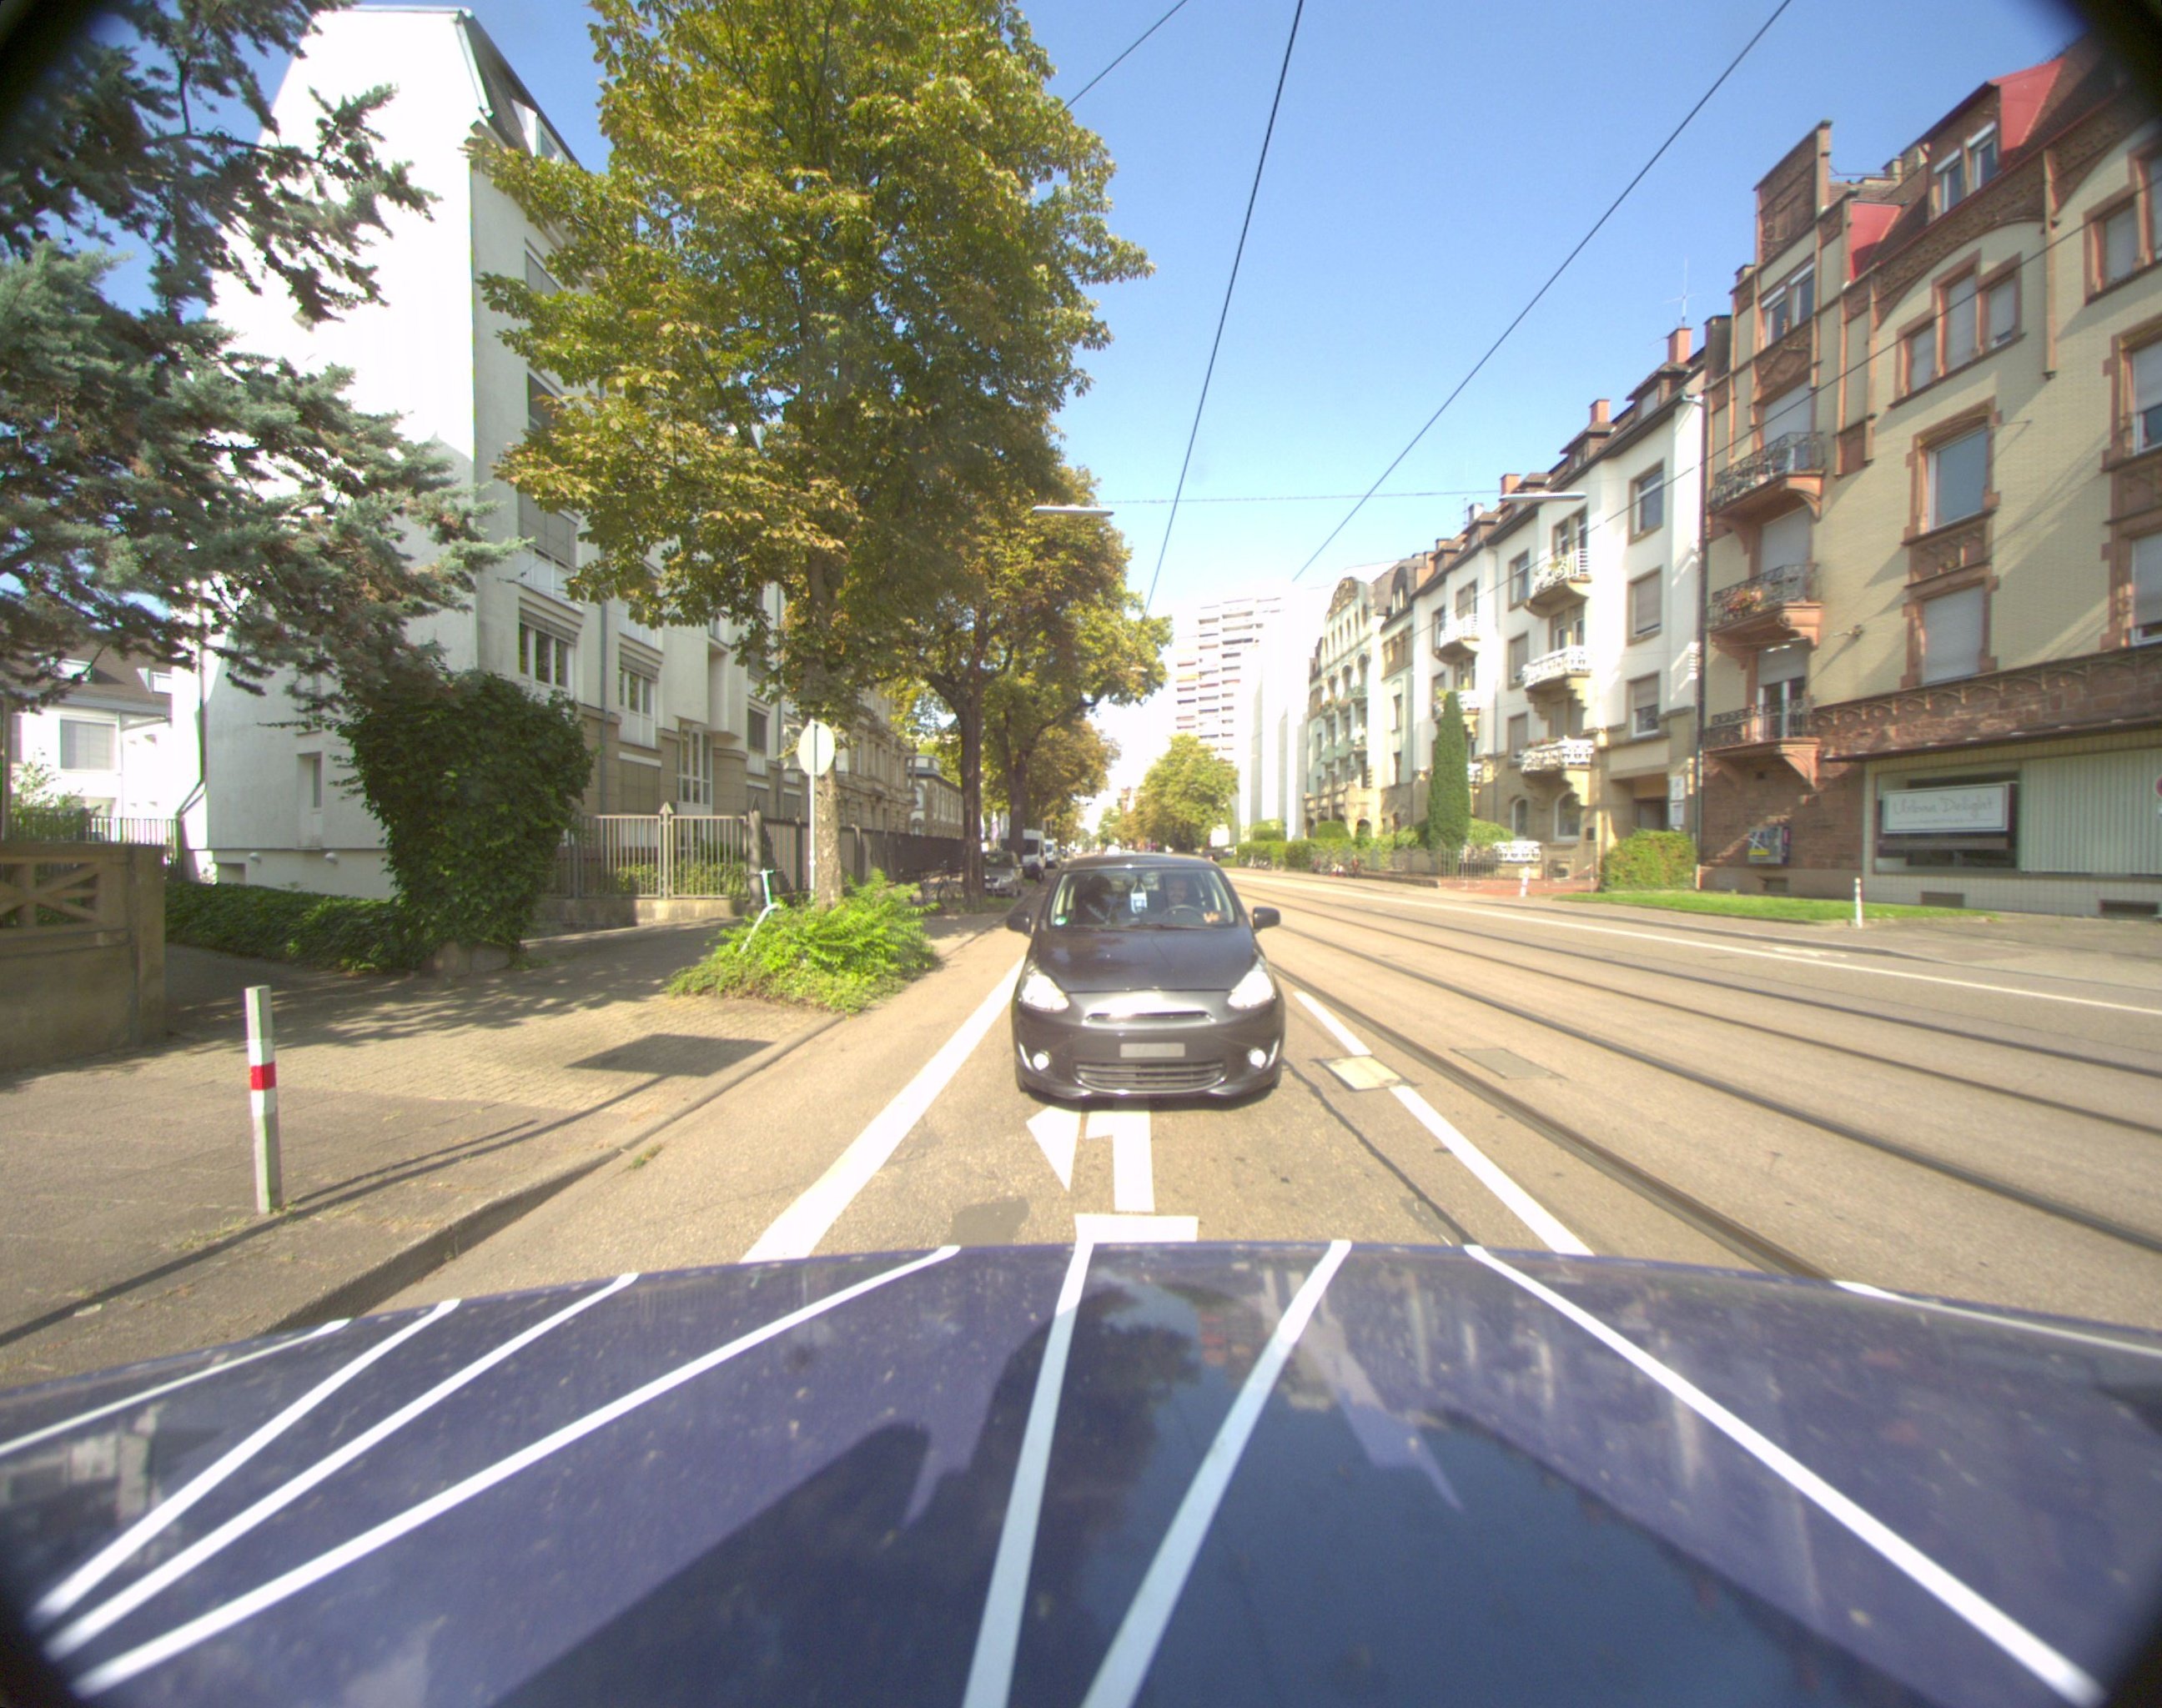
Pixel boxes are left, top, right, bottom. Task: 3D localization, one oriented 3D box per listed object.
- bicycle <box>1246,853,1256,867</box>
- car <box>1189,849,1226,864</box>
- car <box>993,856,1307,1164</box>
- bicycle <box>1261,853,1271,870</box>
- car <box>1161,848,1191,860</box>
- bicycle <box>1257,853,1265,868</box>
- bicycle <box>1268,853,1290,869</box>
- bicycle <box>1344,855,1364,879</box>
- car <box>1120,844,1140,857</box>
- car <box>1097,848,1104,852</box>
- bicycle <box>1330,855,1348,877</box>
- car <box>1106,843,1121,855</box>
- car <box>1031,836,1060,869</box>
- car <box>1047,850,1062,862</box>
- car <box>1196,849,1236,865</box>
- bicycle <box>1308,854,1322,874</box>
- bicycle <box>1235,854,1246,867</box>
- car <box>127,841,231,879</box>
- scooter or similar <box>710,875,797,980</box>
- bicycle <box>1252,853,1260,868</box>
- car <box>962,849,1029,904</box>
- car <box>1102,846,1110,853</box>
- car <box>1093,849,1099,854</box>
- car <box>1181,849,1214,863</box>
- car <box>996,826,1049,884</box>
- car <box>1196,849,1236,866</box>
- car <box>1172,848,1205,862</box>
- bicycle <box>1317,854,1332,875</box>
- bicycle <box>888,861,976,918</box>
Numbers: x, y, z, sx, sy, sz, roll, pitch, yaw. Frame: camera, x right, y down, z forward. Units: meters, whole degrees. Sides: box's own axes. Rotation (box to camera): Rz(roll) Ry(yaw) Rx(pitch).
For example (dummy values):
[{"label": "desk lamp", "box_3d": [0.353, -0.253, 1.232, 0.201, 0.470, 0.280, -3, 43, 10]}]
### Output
[{"label": "bicycle", "box_3d": [12.839, 0.436, 57.295, 0.425, 1.081, 1.676, 0, 1, 2]}, {"label": "car", "box_3d": [12.672, 0.240, 76.032, 1.767, 1.518, 4.009, 1, 1, 41]}, {"label": "car", "box_3d": [0.355, 0.823, 6.148, 1.611, 1.515, 4.356, -1, 1, 0]}, {"label": "bicycle", "box_3d": [12.746, 0.507, 52.379, 0.425, 1.081, 1.677, 0, 1, 4]}, {"label": "car", "box_3d": [11.943, 0.020, 95.194, 1.767, 1.518, 4.009, 1, 1, 41]}, {"label": "bicycle", "box_3d": [12.884, 0.475, 54.476, 0.425, 1.081, 1.677, 0, 1, 9]}, {"label": "bicycle", "box_3d": [13.371, 0.486, 51.377, 1.397, 1.081, 0.425, 0, 1, -18]}, {"label": "bicycle", "box_3d": [12.944, 0.616, 36.063, 0.371, 1.081, 1.487, 0, 1, -1]}, {"label": "car", "box_3d": [6.134, -0.439, 95.147, 1.877, 1.446, 4.543, 3, 0, -3]}, {"label": "car", "box_3d": [6.083, -1.195, 235.878, 1.757, 1.349, 3.787, 0, 1, -1]}, {"label": "bicycle", "box_3d": [12.846, 0.593, 37.837, 0.371, 1.081, 1.355, 0, 1, -1]}, {"label": "car", "box_3d": [5.410, -0.786, 126.939, 1.999, 2.002, 4.857, 0, 1, -3]}, {"label": "car", "box_3d": [-2.920, -0.135, 63.324, 1.998, 2.526, 5.867, 2, 1, 0]}, {"label": "car", "box_3d": [-3.206, 0.224, 91.678, 1.757, 1.349, 3.787, 0, 1, -1]}, {"label": "car", "box_3d": [13.036, 0.262, 73.191, 4.008, 1.518, 1.767, 0, 1, -44]}, {"label": "bicycle", "box_3d": [13.040, 0.559, 42.367, 0.371, 1.081, 1.355, 0, 1, -1]}, {"label": "bicycle", "box_3d": [12.700, 0.501, 60.629, 0.425, 0.972, 1.770, 0, 1, -1]}, {"label": "car", "box_3d": [-38.687, 0.205, 32.582, 3.990, 1.557, 1.839, 0, 1, 24]}, {"label": "scooter or similar", "box_3d": [-4.168, 0.906, 9.733, 0.559, 1.190, 1.034, 3, 1, 5]}, {"label": "bicycle", "box_3d": [12.728, 0.456, 55.284, 0.425, 1.081, 1.677, 0, 1, 9]}, {"label": "car", "box_3d": [-2.672, 0.656, 24.620, 1.611, 1.515, 4.356, 3, 1, 0]}, {"label": "car", "box_3d": [5.810, -1.047, 178.690, 1.701, 1.395, 4.645, -1, 1, -1]}, {"label": "car", "box_3d": [4.513, -0.827, 222.904, 1.757, 1.349, 3.788, 0, 1, 1]}, {"label": "car", "box_3d": [12.821, 0.183, 83.497, 1.767, 1.518, 4.009, 1, 1, 41]}, {"label": "car", "box_3d": [-2.705, 0.028, 36.348, 2.051, 2.484, 6.228, 1, 1, 0]}, {"label": "car", "box_3d": [12.361, 0.331, 69.400, 1.767, 1.518, 4.009, 1, 1, 41]}, {"label": "car", "box_3d": [12.235, 0.130, 86.346, 1.767, 1.518, 4.009, 1, 1, 41]}, {"label": "bicycle", "box_3d": [13.000, 0.565, 40.596, 0.371, 1.081, 1.355, 0, 1, -1]}, {"label": "bicycle", "box_3d": [-3.297, 0.792, 16.929, 1.846, 1.160, 0.503, 2, 5, -40]}]
